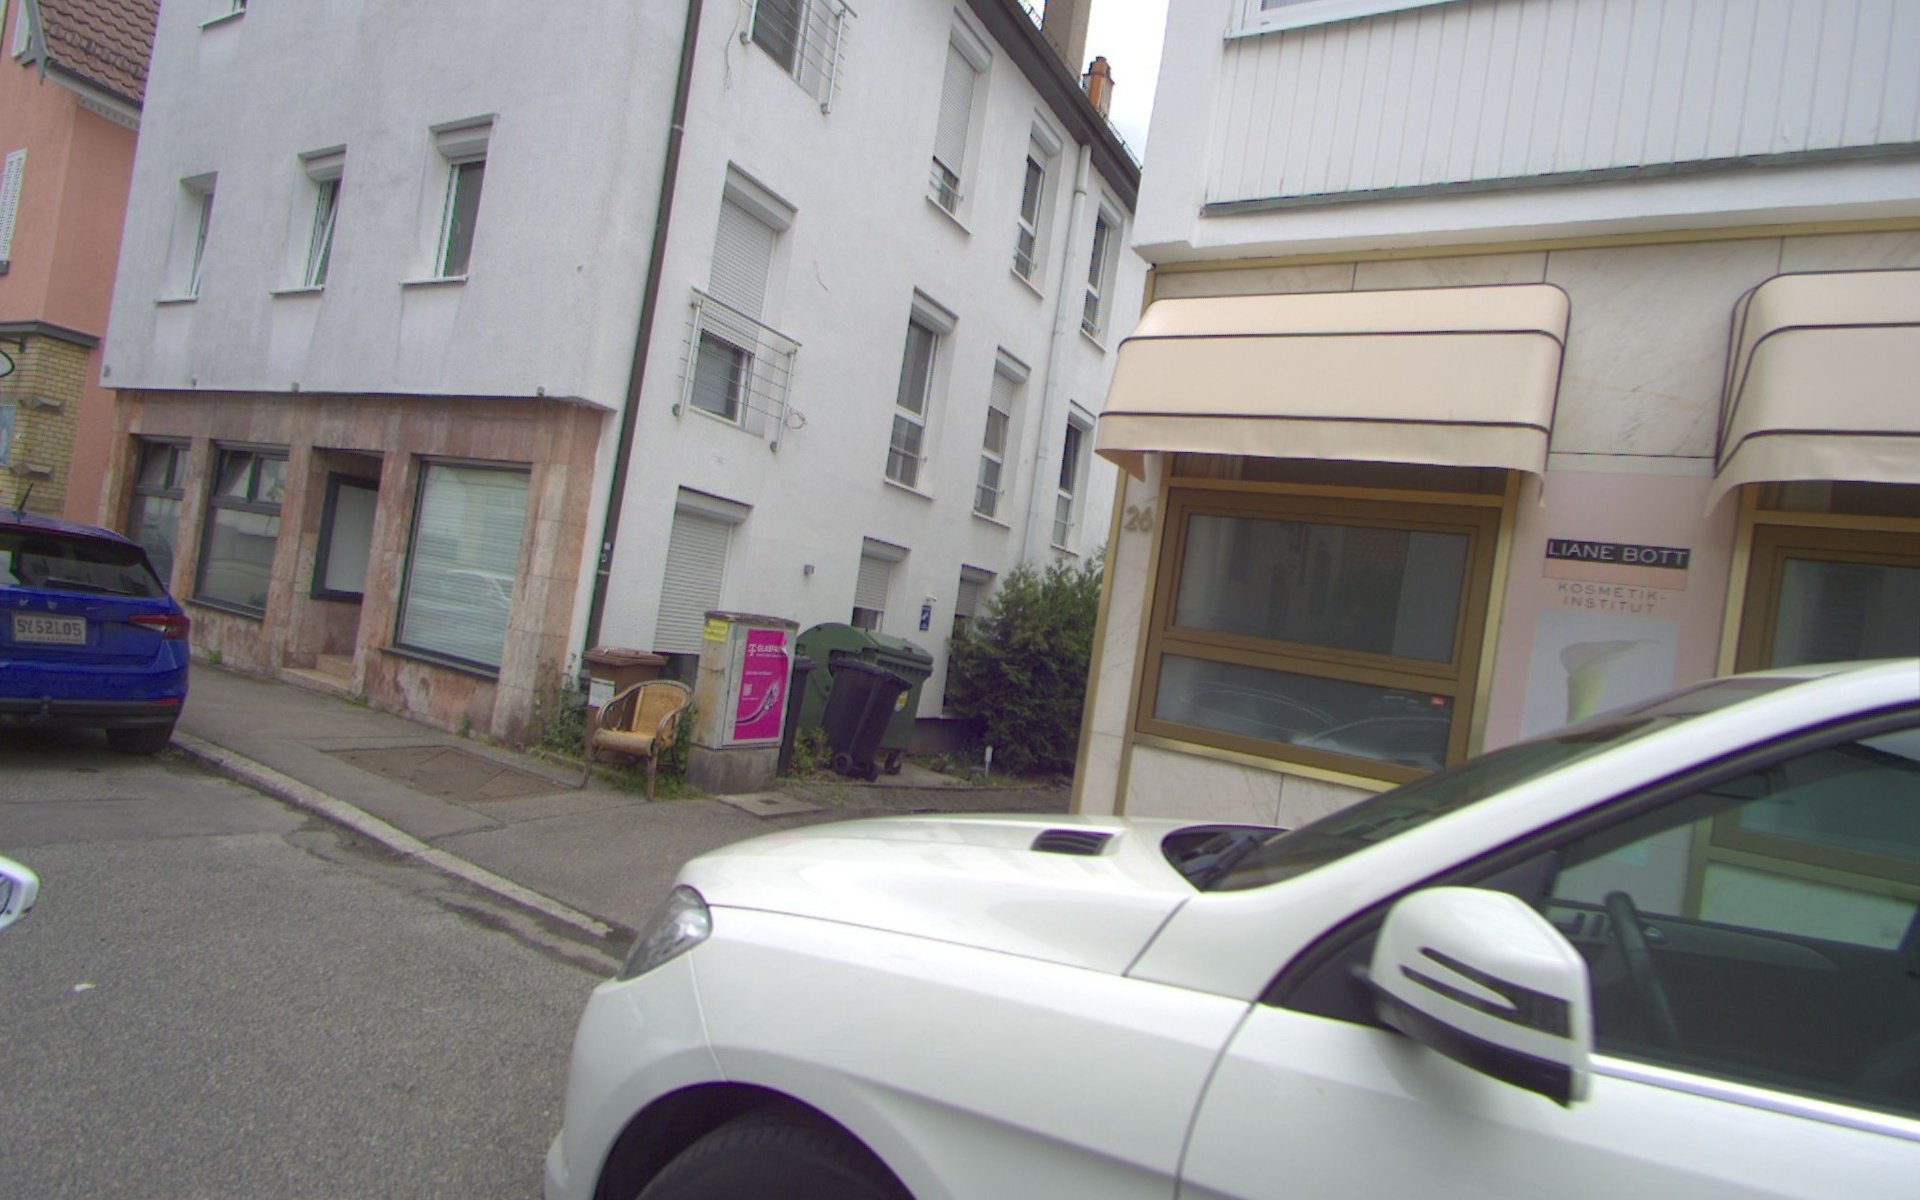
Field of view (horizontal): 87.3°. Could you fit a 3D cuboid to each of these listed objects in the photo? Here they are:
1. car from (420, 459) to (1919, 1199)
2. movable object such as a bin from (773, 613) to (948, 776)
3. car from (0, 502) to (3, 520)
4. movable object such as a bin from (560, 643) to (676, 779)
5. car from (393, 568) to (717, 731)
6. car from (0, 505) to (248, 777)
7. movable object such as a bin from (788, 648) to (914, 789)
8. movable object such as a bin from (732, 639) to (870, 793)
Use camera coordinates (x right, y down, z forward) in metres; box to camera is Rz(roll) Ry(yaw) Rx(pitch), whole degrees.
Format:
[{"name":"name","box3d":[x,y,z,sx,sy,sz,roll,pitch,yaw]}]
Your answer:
[{"name":"car","box3d":[1.423,0.902,1.547,4.419,1.724,1.900,6,-3,31]},{"name":"movable object such as a bin","box3d":[-1.019,1.020,10.606,1.059,1.400,1.273,13,-2,26]},{"name":"car","box3d":[-24.344,-1.919,22.609,1.643,1.495,3.631,8,-3,23]},{"name":"movable object such as a bin","box3d":[-2.634,0.840,7.774,0.513,0.942,0.569,8,2,31]},{"name":"car","box3d":[-5.090,0.582,12.487,3.948,1.448,1.647,6,-4,34]},{"name":"car","box3d":[-6.676,0.082,6.567,3.862,1.447,1.757,6,-4,31]},{"name":"movable object such as a bin","box3d":[-1.029,1.118,9.508,0.803,1.124,0.517,13,-1,27]},{"name":"movable object such as a bin","box3d":[-1.375,1.009,8.751,0.803,1.124,0.517,13,-1,27]}]
